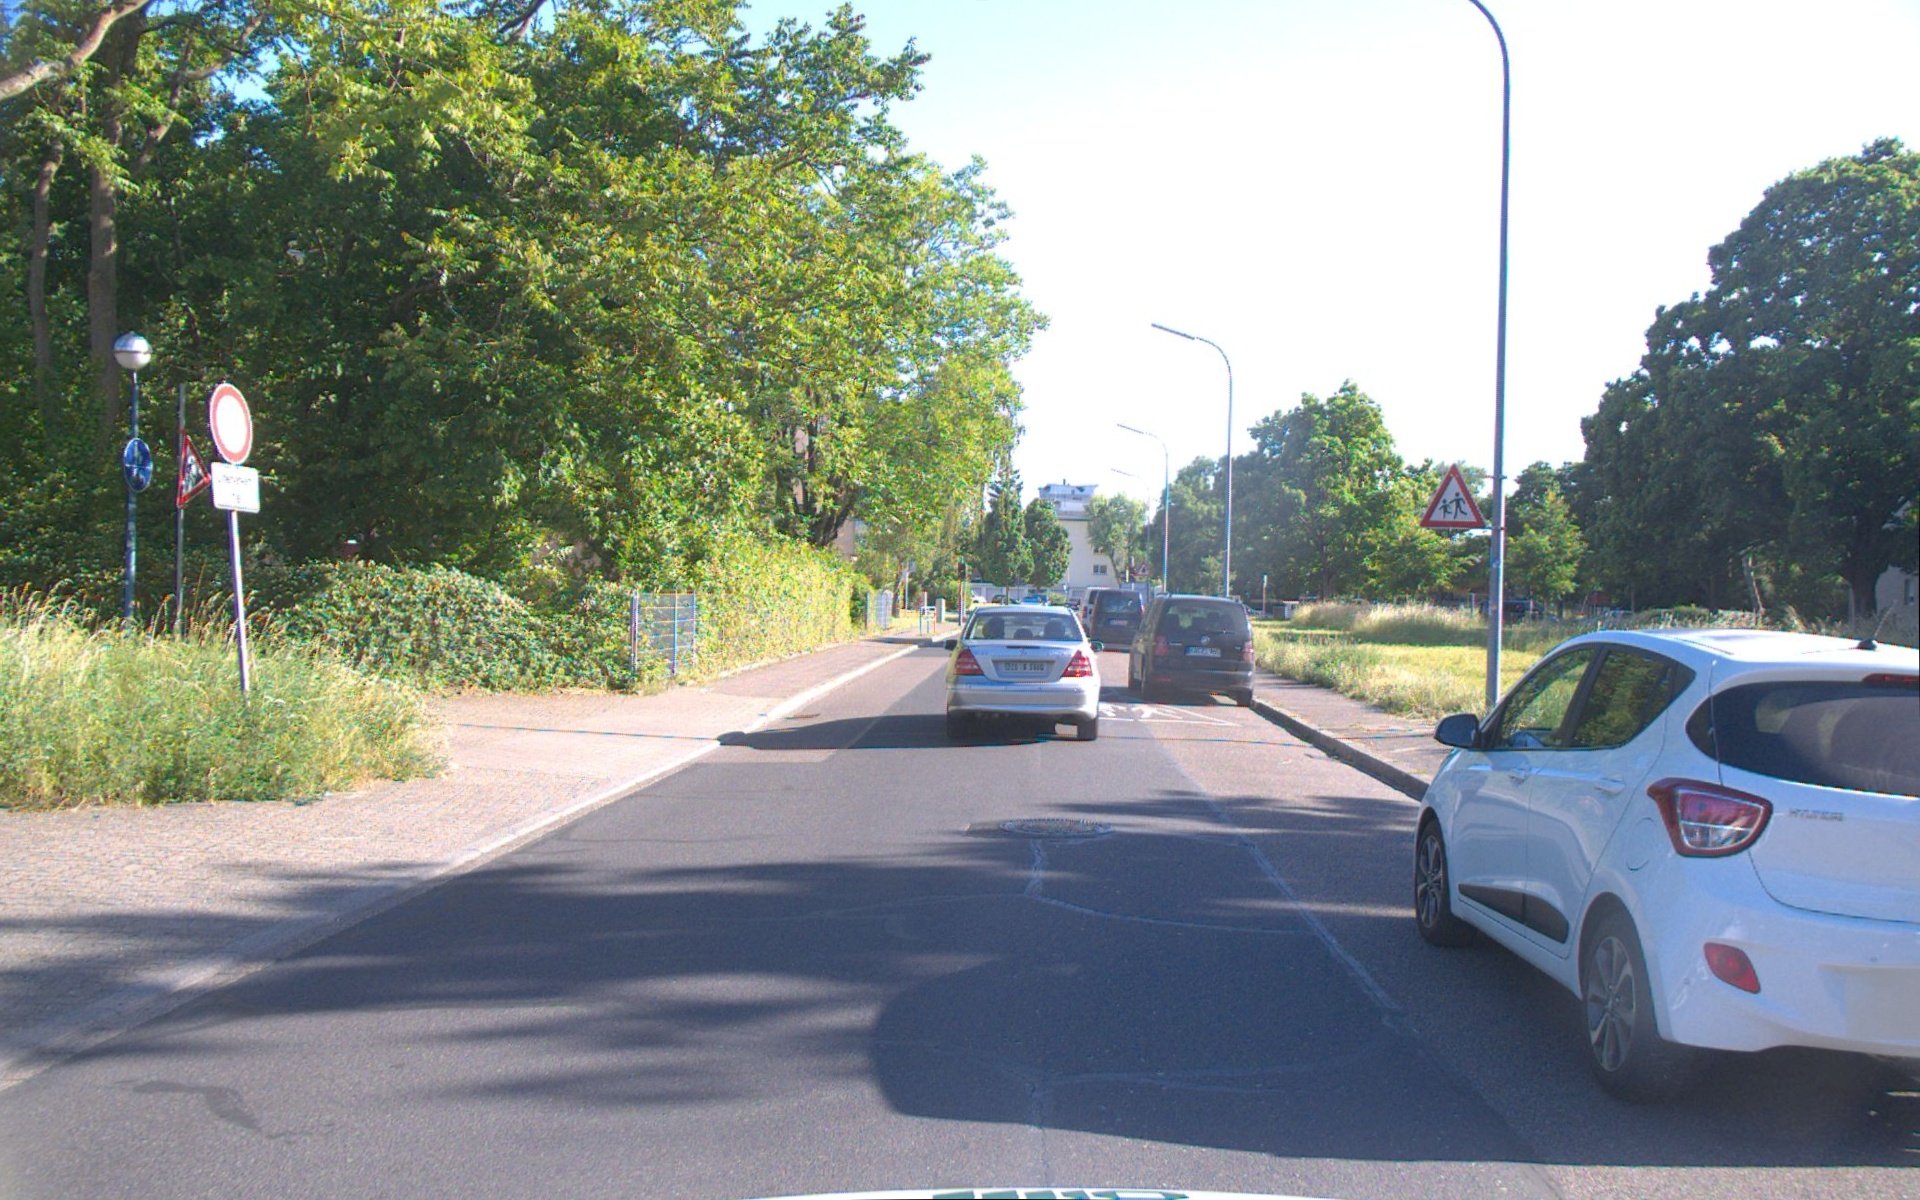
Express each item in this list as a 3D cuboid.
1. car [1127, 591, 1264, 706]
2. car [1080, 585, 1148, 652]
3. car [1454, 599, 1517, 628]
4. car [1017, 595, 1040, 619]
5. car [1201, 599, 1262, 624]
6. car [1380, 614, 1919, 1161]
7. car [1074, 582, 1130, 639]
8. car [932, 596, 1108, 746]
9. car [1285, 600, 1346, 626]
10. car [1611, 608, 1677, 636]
[{"bbox_3d":[3.730,0.716,26.743,1.663,1.638,4.001,2,1,1],"label":"car"},{"bbox_3d":[4.497,0.506,48.635,1.663,1.790,3.852,3,1,2],"label":"car"},{"bbox_3d":[32.271,0.825,101.565,3.625,1.646,1.700,1,-2,18],"label":"car"},{"bbox_3d":[5.550,0.578,133.986,1.845,1.758,4.000,1,-2,2],"label":"car"},{"bbox_3d":[17.270,0.722,105.230,3.625,1.467,1.700,1,-2,18],"label":"car"},{"bbox_3d":[3.006,0.861,6.582,1.686,1.505,3.740,3,0,0],"label":"car"},{"bbox_3d":[5.032,0.351,58.984,1.663,1.883,3.852,3,1,2],"label":"car"},{"bbox_3d":[0.805,0.716,19.127,1.778,1.489,4.364,0,1,5],"label":"car"},{"bbox_3d":[22.367,0.819,104.090,3.625,1.497,1.700,1,-2,18],"label":"car"},{"bbox_3d":[43.630,1.422,105.611,3.623,1.646,1.701,1,-2,11],"label":"car"}]
